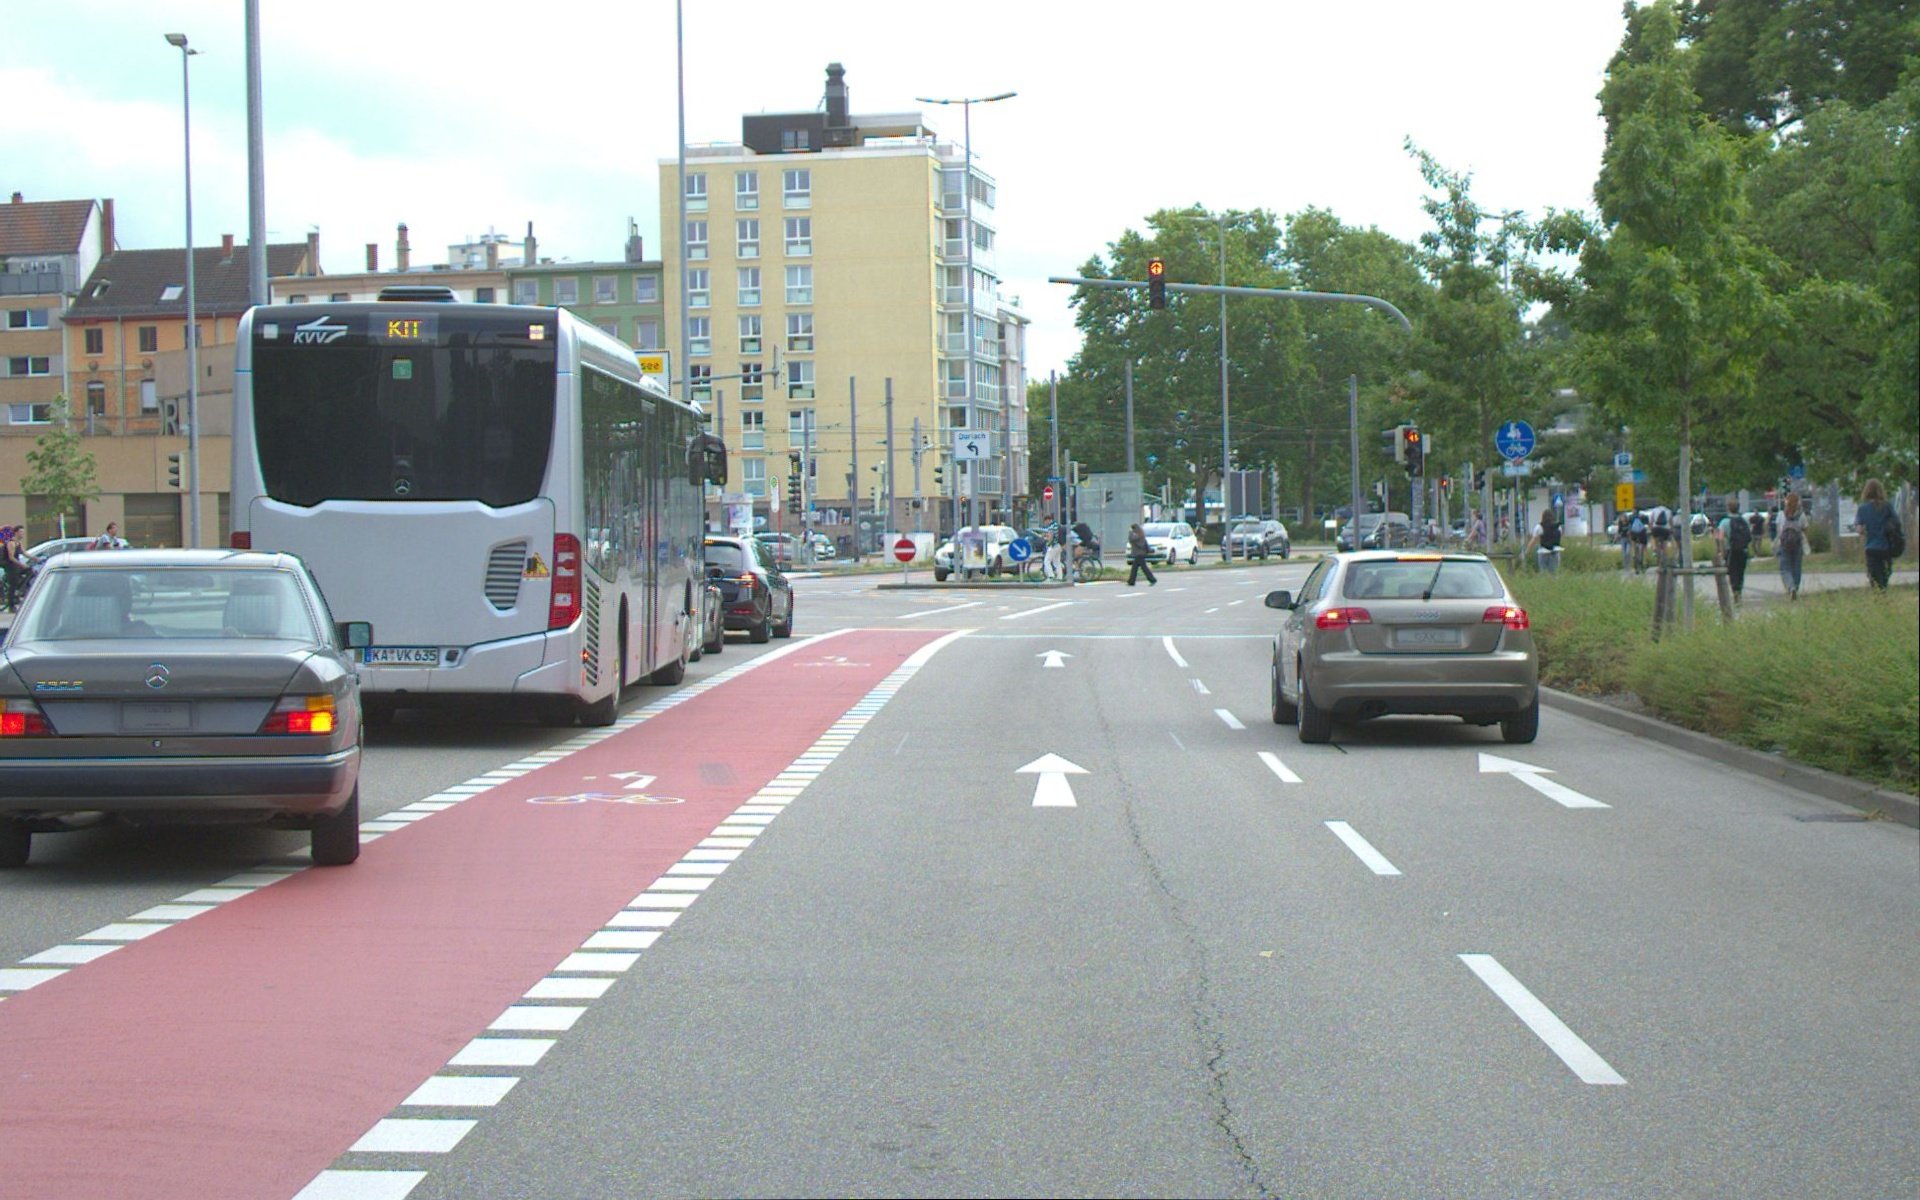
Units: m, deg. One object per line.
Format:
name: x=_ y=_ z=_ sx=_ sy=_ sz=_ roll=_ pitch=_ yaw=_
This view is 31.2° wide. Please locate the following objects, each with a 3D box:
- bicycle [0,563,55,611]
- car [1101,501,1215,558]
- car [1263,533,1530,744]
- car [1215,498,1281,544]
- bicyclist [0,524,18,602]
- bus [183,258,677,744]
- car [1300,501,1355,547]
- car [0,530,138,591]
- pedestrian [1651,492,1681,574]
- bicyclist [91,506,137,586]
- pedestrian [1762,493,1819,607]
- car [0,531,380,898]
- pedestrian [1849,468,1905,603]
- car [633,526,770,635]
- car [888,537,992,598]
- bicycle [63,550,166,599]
bicycle: x=-20.041 y=-0.265 z=72.026 sx=1.964 sy=0.978 sz=0.631 roll=-1 pitch=1 yaw=0
car: x=7.731 y=-2.758 z=133.662 sx=2.586 sy=2.102 sz=5.594 roll=0 pitch=1 yaw=24
car: x=3.292 y=0.241 z=26.512 sx=1.724 sy=1.452 sz=3.736 roll=-1 pitch=1 yaw=3
car: x=12.024 y=-3.301 z=143.248 sx=1.808 sy=1.844 sz=3.997 roll=-1 pitch=1 yaw=19
bicyclist: x=-20.232 y=-0.770 z=72.026 sx=0.786 sy=1.637 sz=0.572 roll=-1 pitch=1 yaw=1
bus: x=-4.062 y=-0.805 z=28.287 sx=2.831 sy=3.378 sz=8.183 roll=-1 pitch=2 yaw=-1
car: x=16.730 y=-3.466 z=156.385 sx=1.995 sy=2.007 sz=3.998 roll=-1 pitch=2 yaw=13
car: x=-21.001 y=-0.911 z=79.653 sx=3.671 sy=1.389 sz=1.585 roll=0 pitch=1 yaw=-18
pedestrian: x=17.283 y=-1.643 z=84.152 sx=0.614 sy=2.007 sz=0.597 roll=-1 pitch=1 yaw=0
bicyclist: x=-17.650 y=-1.125 z=71.739 sx=0.786 sy=1.637 sz=0.614 roll=-1 pitch=1 yaw=-1
pedestrian: x=12.704 y=-0.771 z=52.591 sx=0.802 sy=1.707 sz=0.764 roll=-1 pitch=1 yaw=14
car: x=-3.713 y=0.435 z=16.429 sx=1.761 sy=1.484 sz=4.172 roll=-1 pitch=1 yaw=-10
pedestrian: x=11.735 y=-0.826 z=43.980 sx=0.647 sy=1.707 sz=0.561 roll=-1 pitch=1 yaw=16
car: x=-3.512 y=-0.295 z=47.182 sx=1.655 sy=1.391 sz=3.860 roll=-1 pitch=1 yaw=-1
car: x=-0.570 y=-0.977 z=102.358 sx=1.995 sy=1.697 sz=3.997 roll=-1 pitch=2 yaw=16
bicycle: x=-17.641 y=-0.537 z=71.743 sx=1.964 sy=0.978 sz=0.631 roll=-1 pitch=1 yaw=-1
